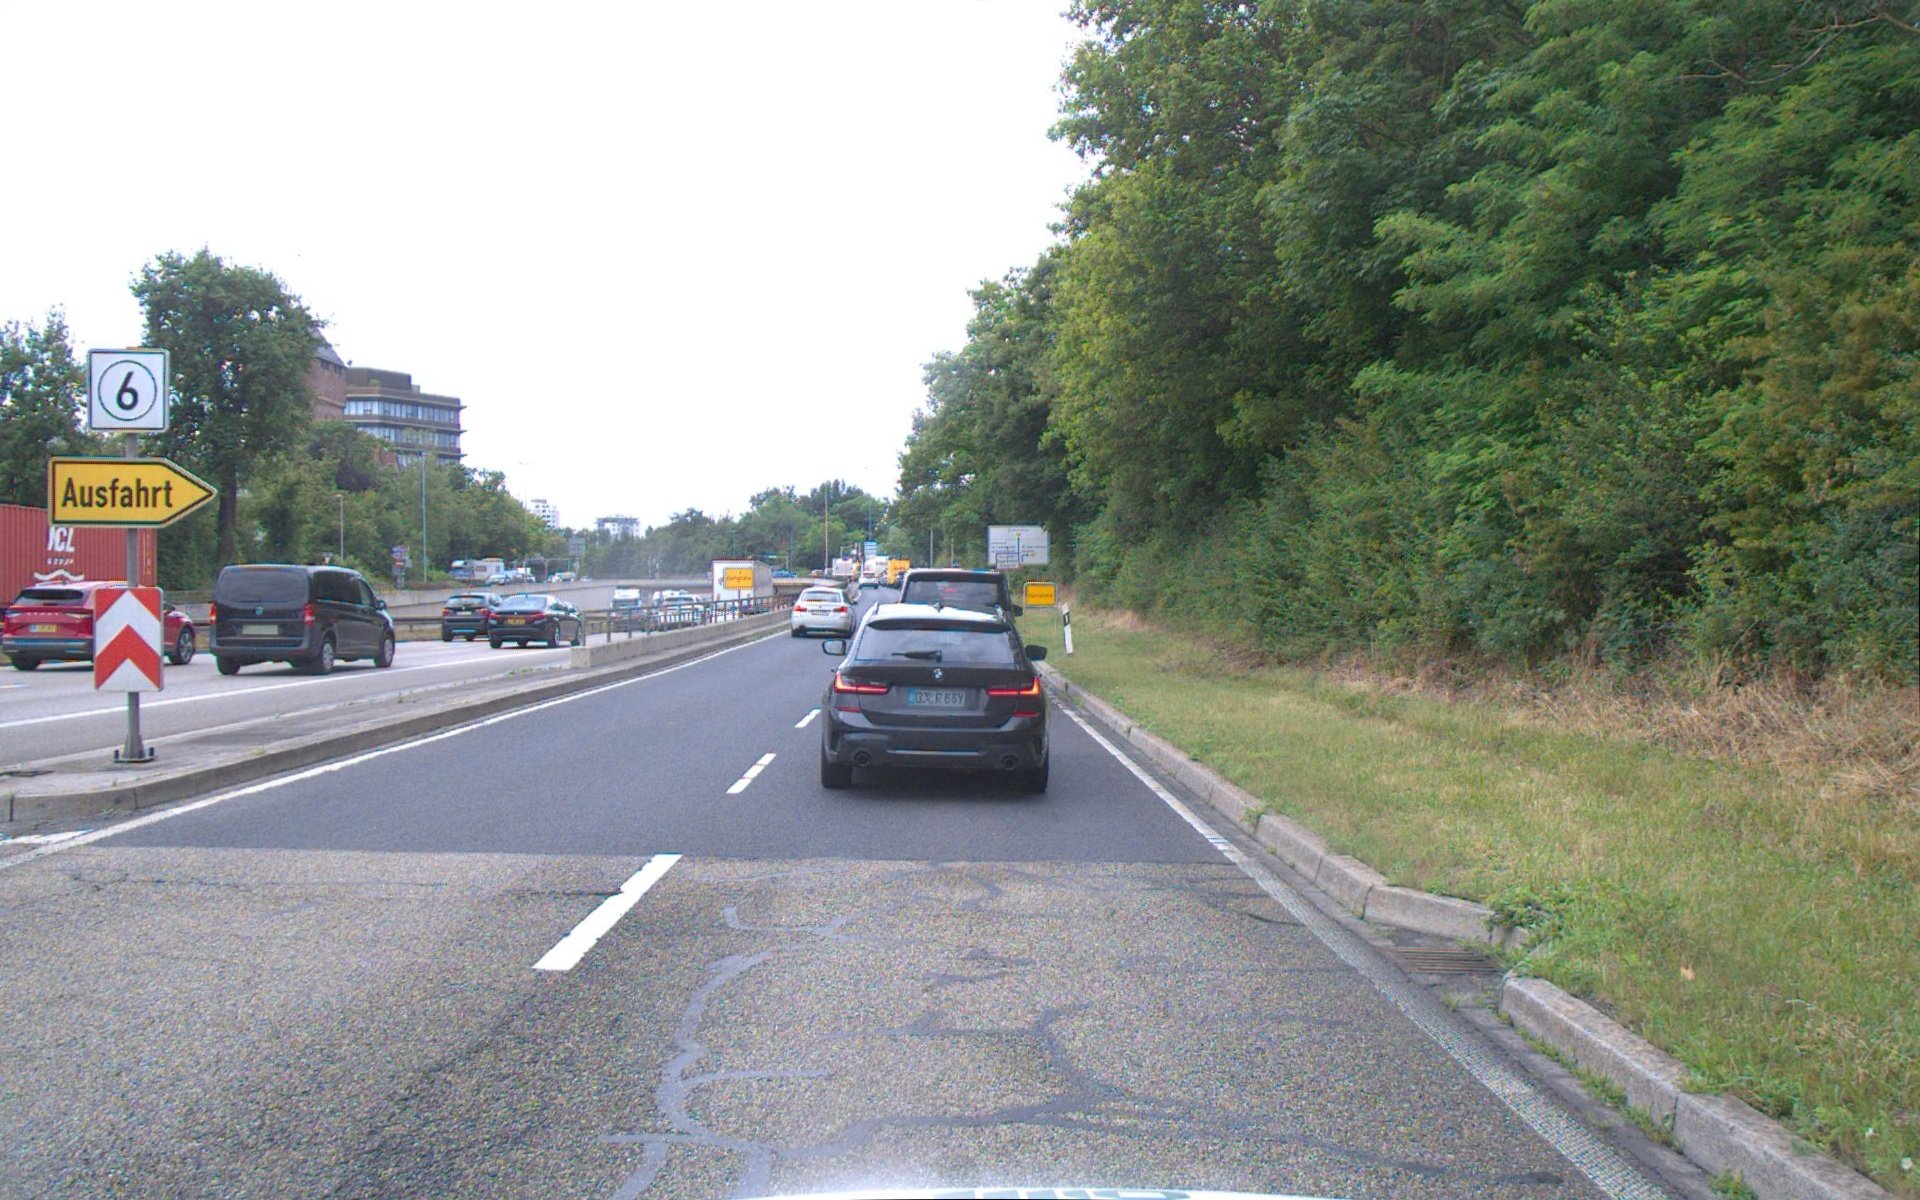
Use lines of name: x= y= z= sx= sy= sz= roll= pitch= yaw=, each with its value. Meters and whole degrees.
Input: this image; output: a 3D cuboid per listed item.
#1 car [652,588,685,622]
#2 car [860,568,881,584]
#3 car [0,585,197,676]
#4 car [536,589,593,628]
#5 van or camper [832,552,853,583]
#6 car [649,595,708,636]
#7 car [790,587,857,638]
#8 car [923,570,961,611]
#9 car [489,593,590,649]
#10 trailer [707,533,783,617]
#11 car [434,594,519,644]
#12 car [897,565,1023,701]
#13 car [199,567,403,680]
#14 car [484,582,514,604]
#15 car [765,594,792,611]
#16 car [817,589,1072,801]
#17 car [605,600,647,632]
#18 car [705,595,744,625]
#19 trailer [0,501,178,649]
car: x=-18.483 y=0.312 z=104.904 sx=1.414 sy=2.080 sz=3.680 roll=0 pitch=0 yaw=0
car: x=-9.060 y=-2.397 z=166.761 sx=1.893 sy=1.624 sz=3.872 roll=0 pitch=0 yaw=-6
car: x=-16.136 y=0.531 z=31.122 sx=1.730 sy=1.595 sz=3.944 roll=0 pitch=0 yaw=0
car: x=-17.533 y=0.359 z=73.528 sx=1.653 sy=1.636 sz=4.006 roll=2 pitch=0 yaw=-2
van or camper: x=-11.219 y=-3.078 z=157.555 sx=1.954 sy=2.870 sz=3.997 roll=0 pitch=0 yaw=-4
car: x=-12.475 y=0.666 z=73.575 sx=1.906 sy=1.721 sz=4.506 roll=0 pitch=0 yaw=-1
car: x=-4.199 y=0.356 z=51.506 sx=1.821 sy=1.489 sz=4.883 roll=1 pitch=0 yaw=-2
car: x=-0.713 y=-0.372 z=64.734 sx=1.423 sy=1.567 sz=3.224 roll=0 pitch=0 yaw=-1
car: x=-11.918 y=0.564 z=47.128 sx=1.678 sy=1.482 sz=4.666 roll=1 pitch=0 yaw=0
trailer: x=-13.281 y=-1.438 z=103.422 sx=3.069 sy=4.807 sz=14.554 roll=1 pitch=0 yaw=-1
car: x=-16.985 y=0.641 z=58.315 sx=1.852 sy=1.711 sz=4.304 roll=0 pitch=0 yaw=-2
car: x=-0.030 y=0.454 z=25.392 sx=1.759 sy=1.904 sz=3.999 roll=1 pitch=0 yaw=-1
car: x=-11.952 y=0.388 z=30.375 sx=1.953 sy=1.883 sz=4.809 roll=1 pitch=0 yaw=-2
car: x=-39.744 y=-0.643 z=142.590 sx=1.622 sy=1.868 sz=3.621 roll=0 pitch=0 yaw=-1
car: x=-22.555 y=0.260 z=205.205 sx=3.143 sy=2.063 sz=5.066 roll=0 pitch=0 yaw=-8
car: x=-0.198 y=0.683 z=13.937 sx=1.809 sy=1.492 sz=3.998 roll=1 pitch=0 yaw=-3
car: x=-18.543 y=0.864 z=91.881 sx=1.653 sy=1.660 sz=3.733 roll=2 pitch=0 yaw=-2
car: x=-12.602 y=0.528 z=88.749 sx=1.733 sy=1.577 sz=3.491 roll=0 pitch=0 yaw=-2
trailer: x=-28.149 y=-0.716 z=50.162 sx=2.708 sy=4.135 sz=13.350 roll=0 pitch=0 yaw=-1
